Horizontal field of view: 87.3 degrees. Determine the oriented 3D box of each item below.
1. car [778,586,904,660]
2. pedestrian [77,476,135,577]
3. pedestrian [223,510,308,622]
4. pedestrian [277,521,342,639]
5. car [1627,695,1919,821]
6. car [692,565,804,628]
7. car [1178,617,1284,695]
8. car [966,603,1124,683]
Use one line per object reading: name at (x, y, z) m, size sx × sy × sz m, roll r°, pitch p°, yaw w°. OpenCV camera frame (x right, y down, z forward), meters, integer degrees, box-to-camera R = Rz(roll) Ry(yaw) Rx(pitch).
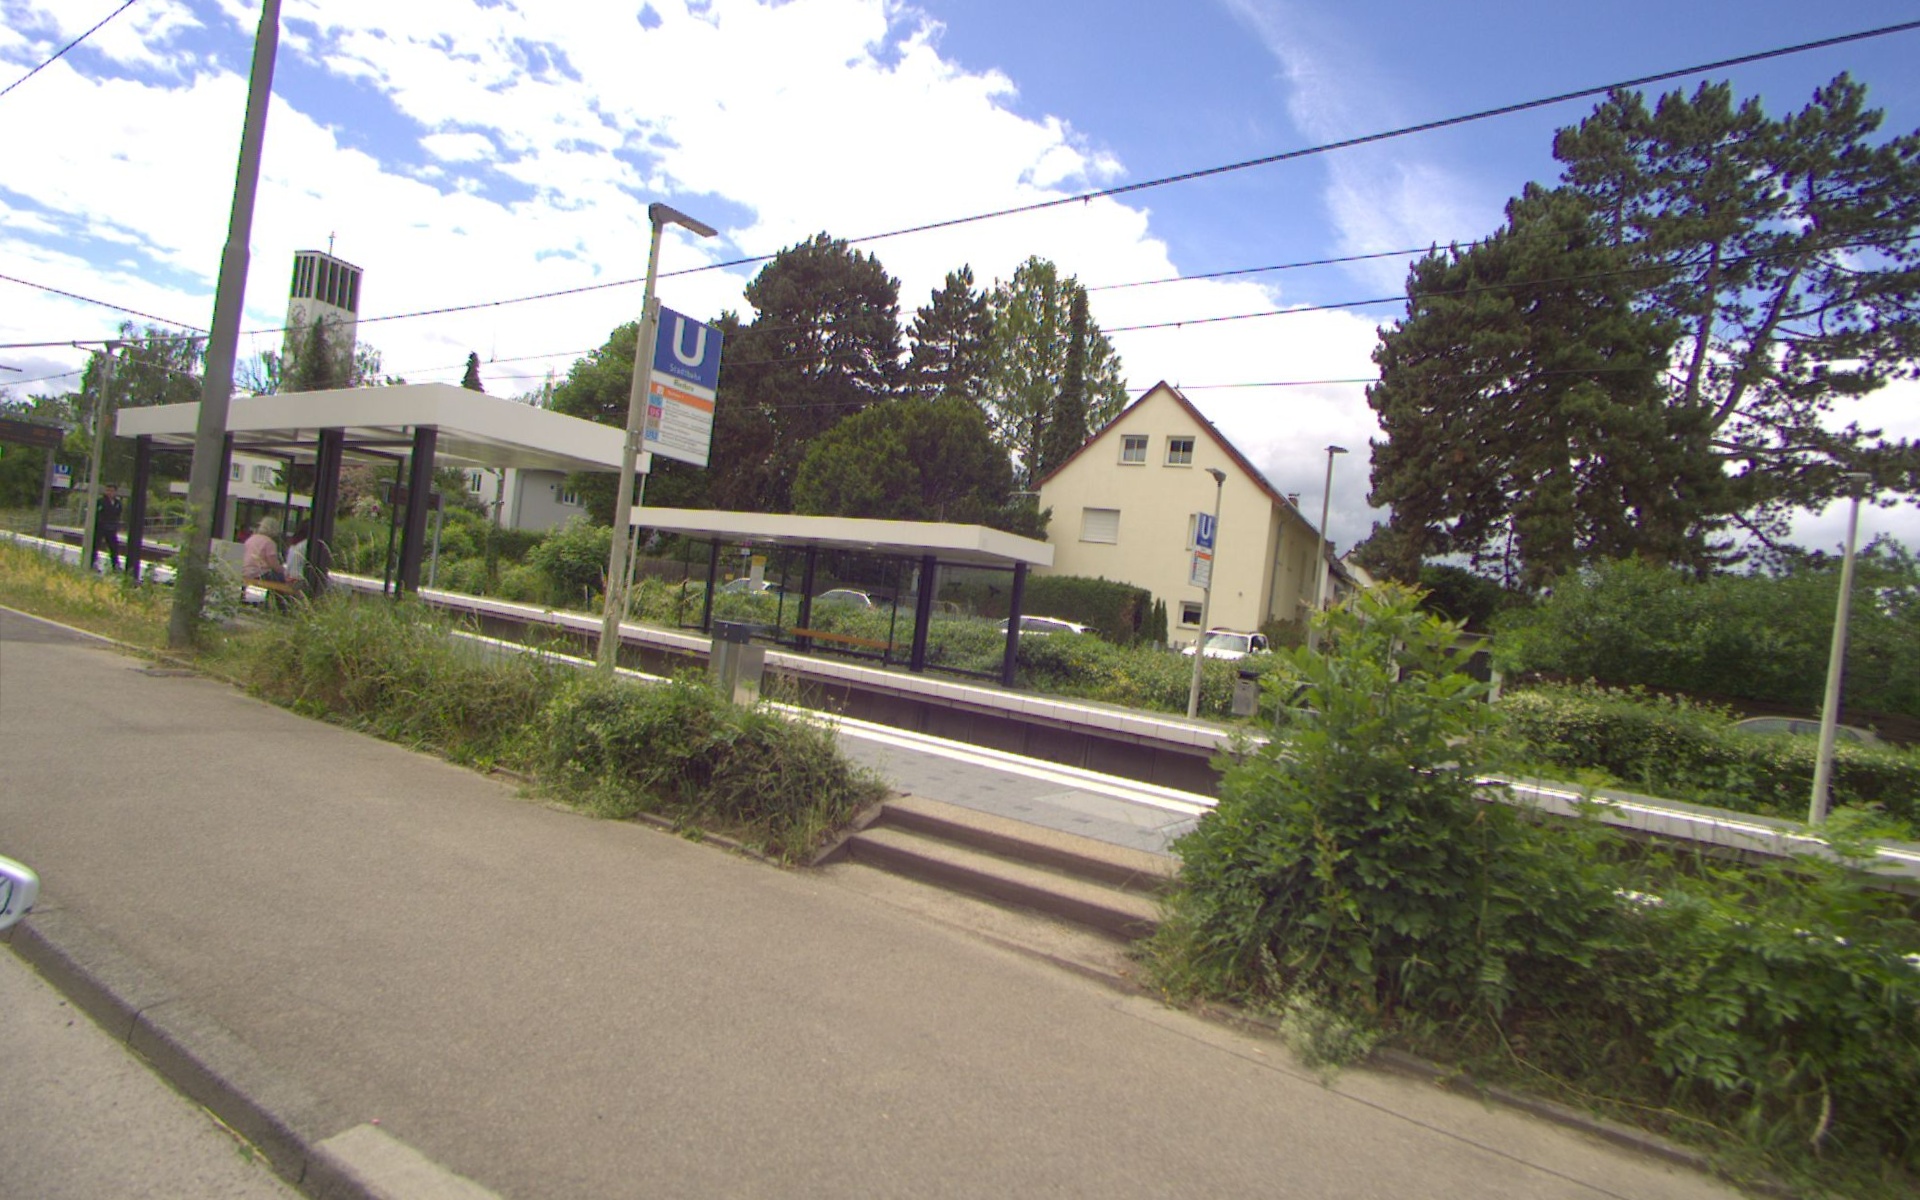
car at (-3.978, 0.751, 33.359) m, size 3.876 × 1.935 × 1.734 m, roll 6°, pitch -3°, yaw 38°
pedestrian at (-15.818, -1.359, 18.627) m, size 0.635 × 1.745 × 0.647 m, roll 8°, pitch -1°, yaw -42°
pedestrian at (-9.419, -0.458, 13.647) m, size 0.727 × 1.396 × 0.583 m, roll 7°, pitch 0°, yaw 33°
pedestrian at (-7.883, -0.245, 12.189) m, size 0.483 × 1.360 × 0.392 m, roll 8°, pitch 0°, yaw -37°
car at (14.977, 2.848, 18.800) m, size 3.941 × 1.540 × 1.883 m, roll 6°, pitch -1°, yaw 38°
car at (-7.700, -0.151, 36.405) m, size 3.876 × 1.771 × 1.732 m, roll 7°, pitch -2°, yaw 39°
car at (8.163, 1.636, 30.038) m, size 1.717 × 1.969 × 4.330 m, roll 7°, pitch 1°, yaw 31°
car at (2.384, 1.207, 28.564) m, size 3.934 × 1.681 × 1.779 m, roll 7°, pitch -1°, yaw 32°
